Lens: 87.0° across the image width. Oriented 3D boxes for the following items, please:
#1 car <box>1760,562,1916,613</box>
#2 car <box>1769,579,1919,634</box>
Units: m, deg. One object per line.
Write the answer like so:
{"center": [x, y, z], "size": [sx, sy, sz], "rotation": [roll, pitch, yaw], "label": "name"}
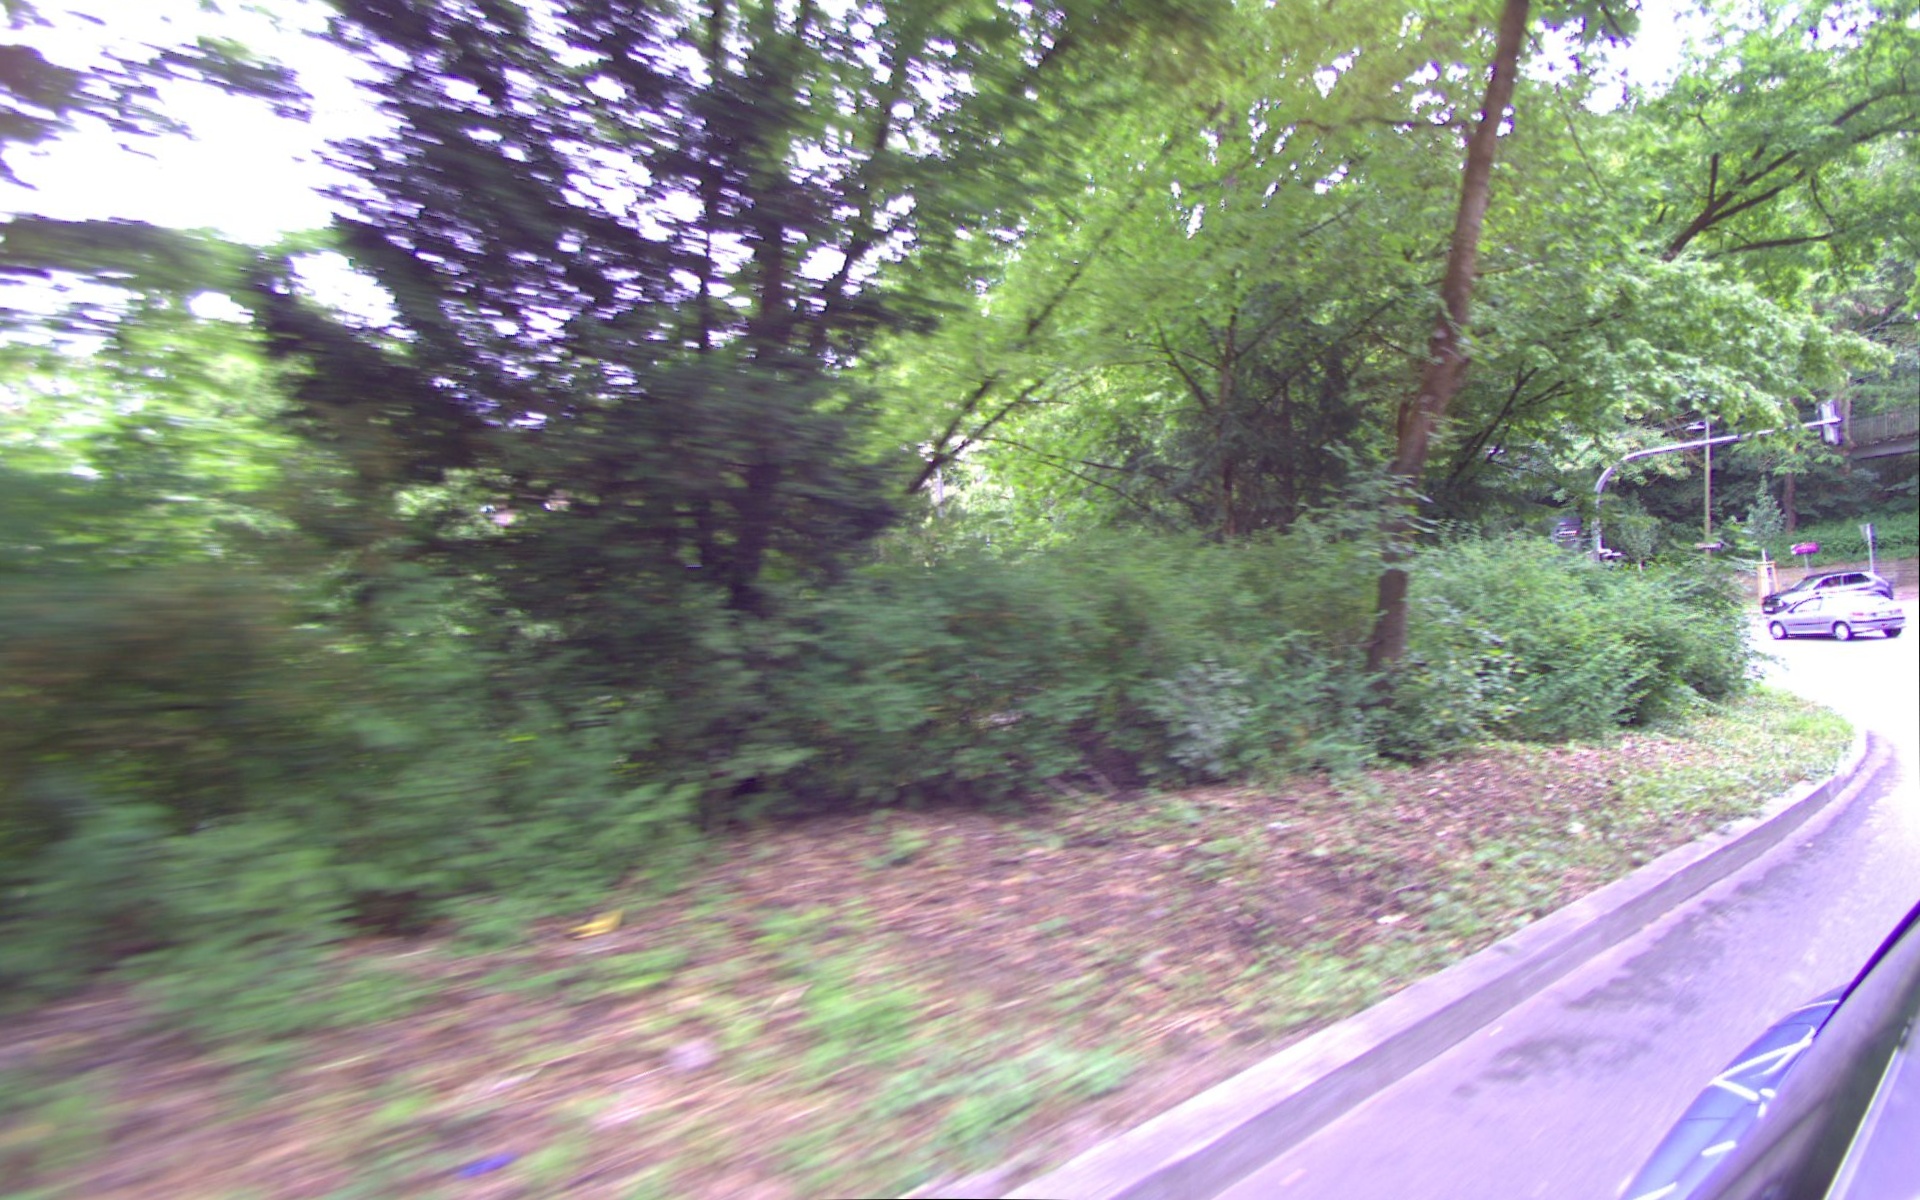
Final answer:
{"center": [33.088, -0.477, 38.245], "size": [3.940, 1.375, 1.747], "rotation": [-7, 0, 13], "label": "car"}
{"center": [26.947, 0.221, 30.733], "size": [1.582, 1.436, 3.753], "rotation": [-5, -2, 0], "label": "car"}
